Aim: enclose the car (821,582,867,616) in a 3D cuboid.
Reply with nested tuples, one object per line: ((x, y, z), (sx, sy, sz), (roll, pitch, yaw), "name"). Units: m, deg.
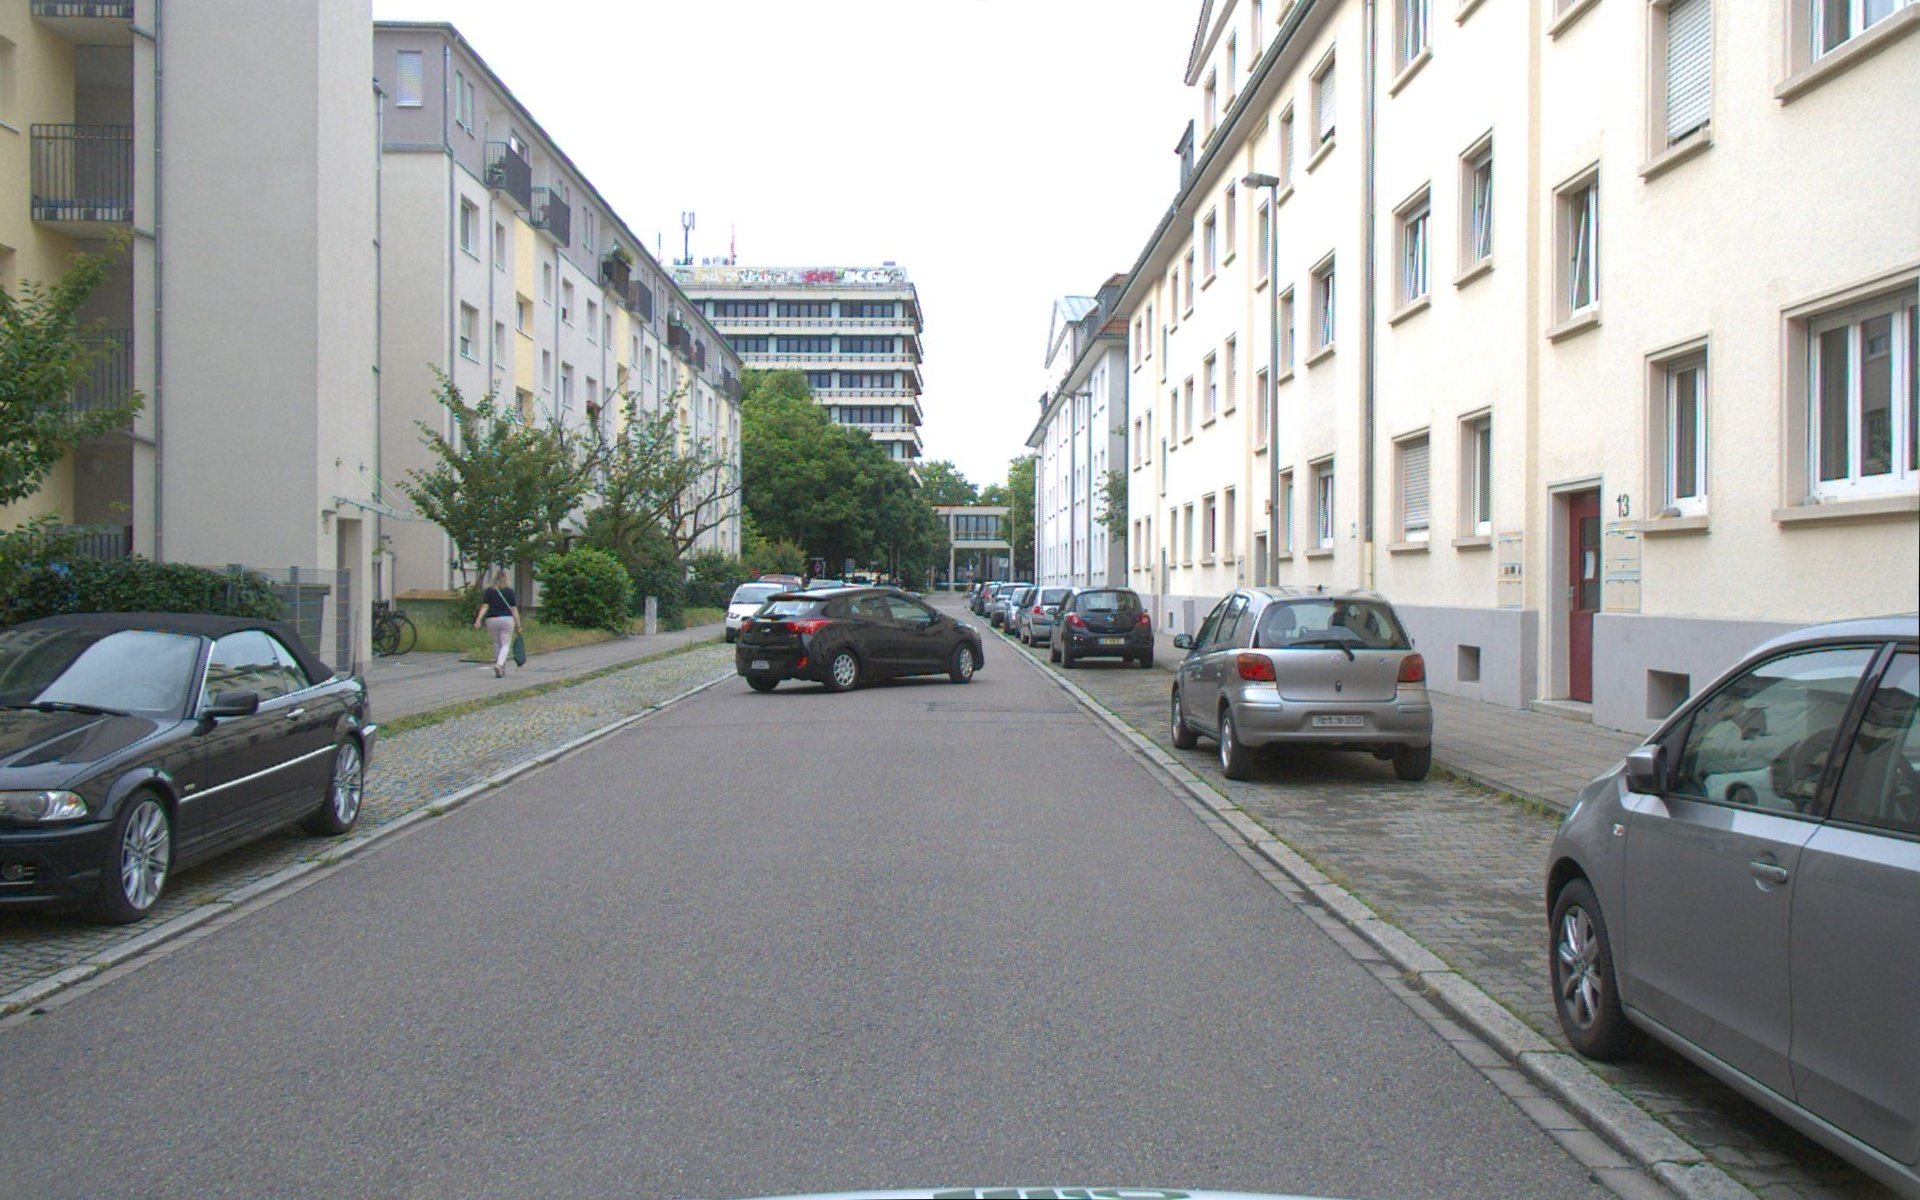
((-5.461, -0.085, 78.277), (1.856, 1.477, 4.520), (2, 0, -1), "car")

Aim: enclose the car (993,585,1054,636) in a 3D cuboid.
((1.969, 0.284, 52.089), (1.690, 1.502, 4.504), (1, 1, -1), "car")

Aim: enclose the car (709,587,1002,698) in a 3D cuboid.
((-1.452, 0.548, 24.281), (1.875, 1.458, 4.207), (0, 1, 42), "car")

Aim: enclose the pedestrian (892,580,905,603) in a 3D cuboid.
((-4.537, -0.616, 121.670), (0.952, 1.683, 0.980), (-1, 0, -2), "pedestrian")

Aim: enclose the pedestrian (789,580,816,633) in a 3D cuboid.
((-5.215, 0.221, 54.760), (0.729, 1.731, 0.792), (-1, 0, -18), "pedestrian")

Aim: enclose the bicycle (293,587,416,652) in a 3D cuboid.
((-10.950, 0.354, 29.952), (1.983, 1.161, 0.623), (0, 0, -4), "bicycle")

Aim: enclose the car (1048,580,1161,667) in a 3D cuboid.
((2.669, 0.402, 31.337), (1.690, 1.544, 4.060), (0, 1, -1), "car")

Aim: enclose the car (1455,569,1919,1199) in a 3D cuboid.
((2.852, 0.687, 4.559), (1.690, 1.518, 4.060), (0, 1, -1), "car")

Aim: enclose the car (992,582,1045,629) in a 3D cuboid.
((2.133, 0.173, 60.862), (1.783, 1.671, 4.091), (1, 1, 0), "car")

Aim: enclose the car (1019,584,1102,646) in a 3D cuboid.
((2.487, 0.343, 41.702), (1.811, 1.475, 3.832), (0, 1, -1), "car")

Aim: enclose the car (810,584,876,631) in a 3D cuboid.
((-3.849, 0.220, 55.008), (1.807, 1.476, 4.501), (1, 1, 0), "car")

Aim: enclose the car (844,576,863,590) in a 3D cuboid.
((-10.513, -1.653, 163.203), (1.632, 1.356, 3.395), (0, 1, -1), "car")

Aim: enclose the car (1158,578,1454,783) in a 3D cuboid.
((2.882, 0.594, 14.619), (1.690, 1.544, 4.060), (0, 1, -1), "car")

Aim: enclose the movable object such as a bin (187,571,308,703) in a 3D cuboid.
((-8.216, 0.408, 19.115), (0.787, 1.454, 1.288), (1, 0, 2), "movable object such as a bin")

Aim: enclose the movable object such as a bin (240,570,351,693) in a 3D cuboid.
((-8.192, 0.371, 20.437), (0.787, 1.454, 1.288), (1, 0, 3), "movable object such as a bin")

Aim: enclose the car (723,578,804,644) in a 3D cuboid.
((-5.131, 0.254, 43.648), (1.686, 1.597, 3.870), (2, 0, -1), "car")

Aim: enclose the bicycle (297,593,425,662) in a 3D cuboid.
((-10.292, 0.463, 28.470), (1.986, 1.161, 0.621), (0, 0, -11), "bicycle")

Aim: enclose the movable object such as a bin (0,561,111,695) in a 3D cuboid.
((-10.875, 0.305, 19.197), (1.325, 1.490, 1.371), (1, 0, -2), "movable object such as a bin")

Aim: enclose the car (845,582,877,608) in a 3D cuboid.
((-6.277, -0.335, 105.062), (1.954, 1.568, 3.998), (1, 1, -3), "car")

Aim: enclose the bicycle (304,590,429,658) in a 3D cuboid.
((-10.422, 0.415, 29.090), (1.986, 1.161, 0.621), (0, 0, -11), "bicycle")

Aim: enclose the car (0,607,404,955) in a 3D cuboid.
((-4.640, 0.763, 9.040), (1.832, 1.346, 4.360), (1, 0, -2), "car")

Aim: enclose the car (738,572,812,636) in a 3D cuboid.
((-5.493, 0.084, 49.601), (1.917, 1.801, 4.359), (1, 1, -3), "car")

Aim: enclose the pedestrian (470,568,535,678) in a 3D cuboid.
((-6.966, 0.341, 25.204), (0.784, 1.638, 0.946), (0, 0, -5), "pedestrian")

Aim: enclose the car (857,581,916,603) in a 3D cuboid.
((-5.140, -0.540, 116.006), (4.060, 1.524, 1.809), (0, 0, -3), "car")

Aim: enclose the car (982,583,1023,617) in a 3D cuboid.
((1.950, -0.027, 77.256), (1.783, 1.529, 4.091), (0, 1, 0), "car")

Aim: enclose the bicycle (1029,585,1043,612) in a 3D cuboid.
((3.459, -0.083, 75.540), (0.519, 1.196, 2.038), (-1, 1, 5), "bicycle")

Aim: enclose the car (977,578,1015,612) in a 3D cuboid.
((1.758, -0.250, 81.867), (1.783, 1.631, 4.091), (0, 1, 0), "car")
